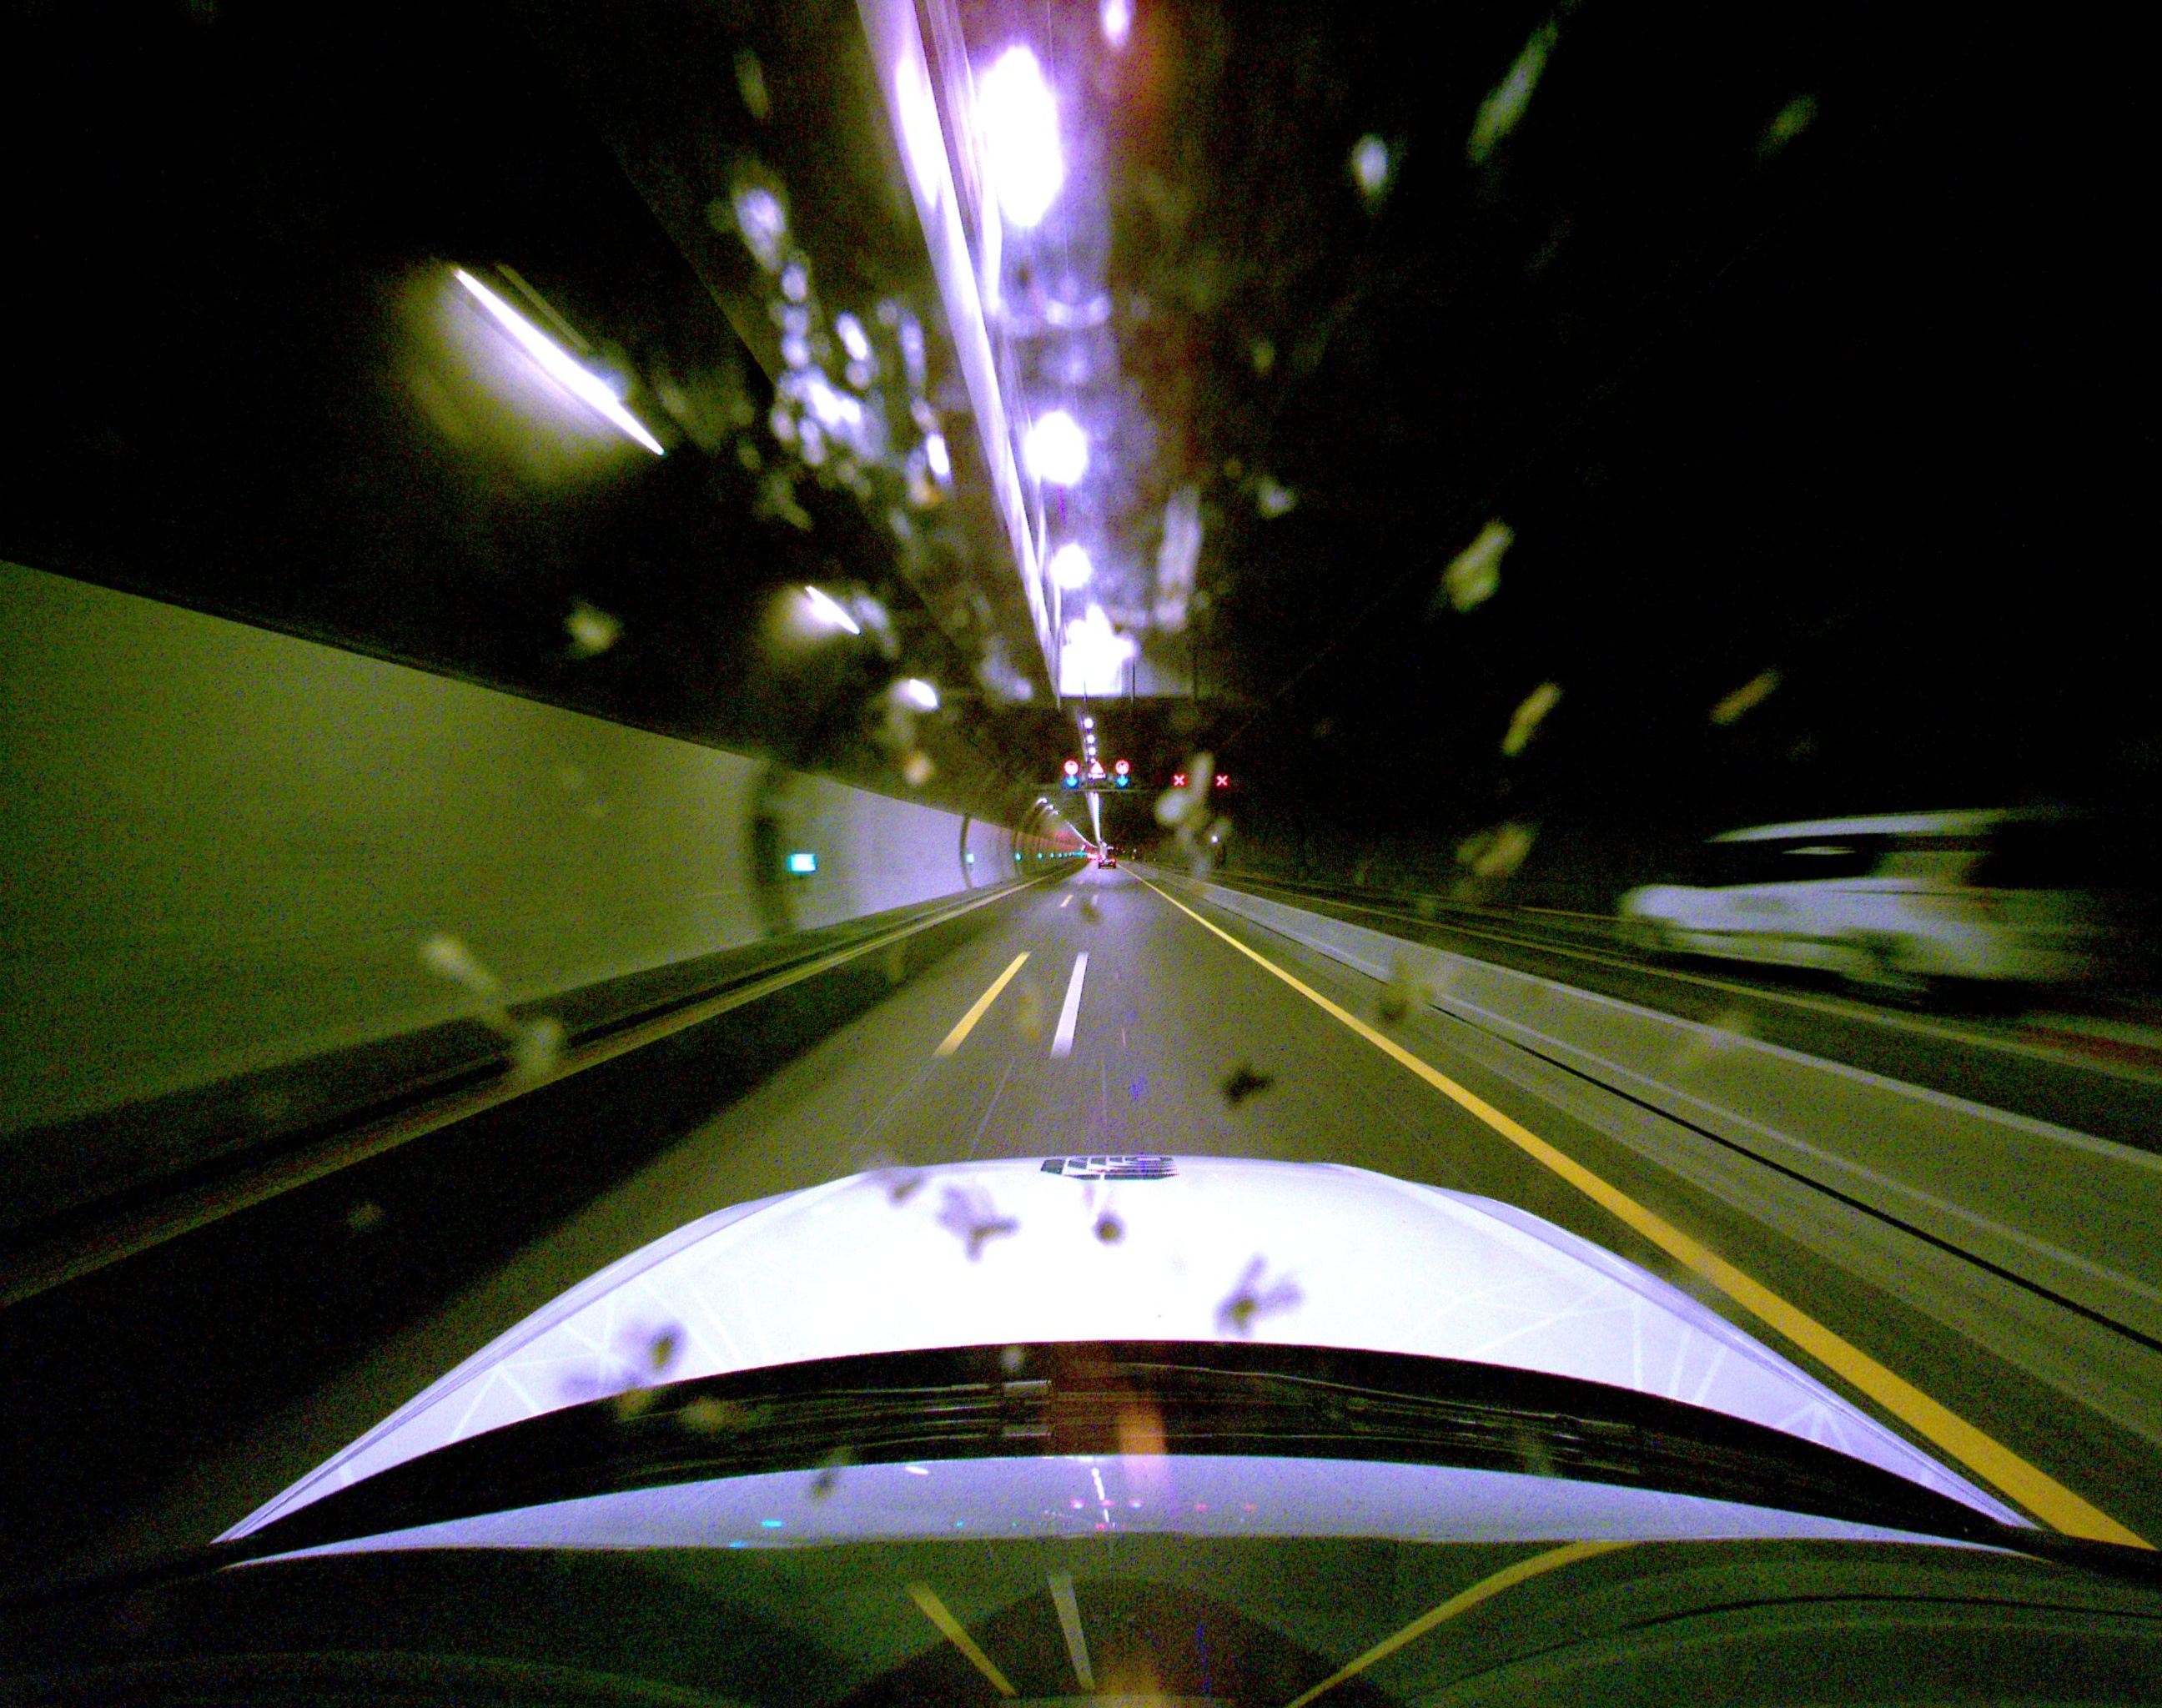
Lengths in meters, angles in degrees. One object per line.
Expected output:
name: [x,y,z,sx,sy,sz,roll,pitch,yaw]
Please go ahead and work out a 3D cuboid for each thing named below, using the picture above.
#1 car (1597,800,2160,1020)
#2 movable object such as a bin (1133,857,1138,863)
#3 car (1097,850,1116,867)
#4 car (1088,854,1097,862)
car: [8.289,0.468,9.265,1.747,1.845,4.641,-1,0,-3]
movable object such as a bin: [14.159,1.535,211.510,1.230,1.442,2.217,2,0,1]
car: [2.682,0.475,86.344,1.940,1.794,3.999,0,0,0]
car: [2.728,0.963,194.448,1.923,1.687,4.002,0,0,2]
